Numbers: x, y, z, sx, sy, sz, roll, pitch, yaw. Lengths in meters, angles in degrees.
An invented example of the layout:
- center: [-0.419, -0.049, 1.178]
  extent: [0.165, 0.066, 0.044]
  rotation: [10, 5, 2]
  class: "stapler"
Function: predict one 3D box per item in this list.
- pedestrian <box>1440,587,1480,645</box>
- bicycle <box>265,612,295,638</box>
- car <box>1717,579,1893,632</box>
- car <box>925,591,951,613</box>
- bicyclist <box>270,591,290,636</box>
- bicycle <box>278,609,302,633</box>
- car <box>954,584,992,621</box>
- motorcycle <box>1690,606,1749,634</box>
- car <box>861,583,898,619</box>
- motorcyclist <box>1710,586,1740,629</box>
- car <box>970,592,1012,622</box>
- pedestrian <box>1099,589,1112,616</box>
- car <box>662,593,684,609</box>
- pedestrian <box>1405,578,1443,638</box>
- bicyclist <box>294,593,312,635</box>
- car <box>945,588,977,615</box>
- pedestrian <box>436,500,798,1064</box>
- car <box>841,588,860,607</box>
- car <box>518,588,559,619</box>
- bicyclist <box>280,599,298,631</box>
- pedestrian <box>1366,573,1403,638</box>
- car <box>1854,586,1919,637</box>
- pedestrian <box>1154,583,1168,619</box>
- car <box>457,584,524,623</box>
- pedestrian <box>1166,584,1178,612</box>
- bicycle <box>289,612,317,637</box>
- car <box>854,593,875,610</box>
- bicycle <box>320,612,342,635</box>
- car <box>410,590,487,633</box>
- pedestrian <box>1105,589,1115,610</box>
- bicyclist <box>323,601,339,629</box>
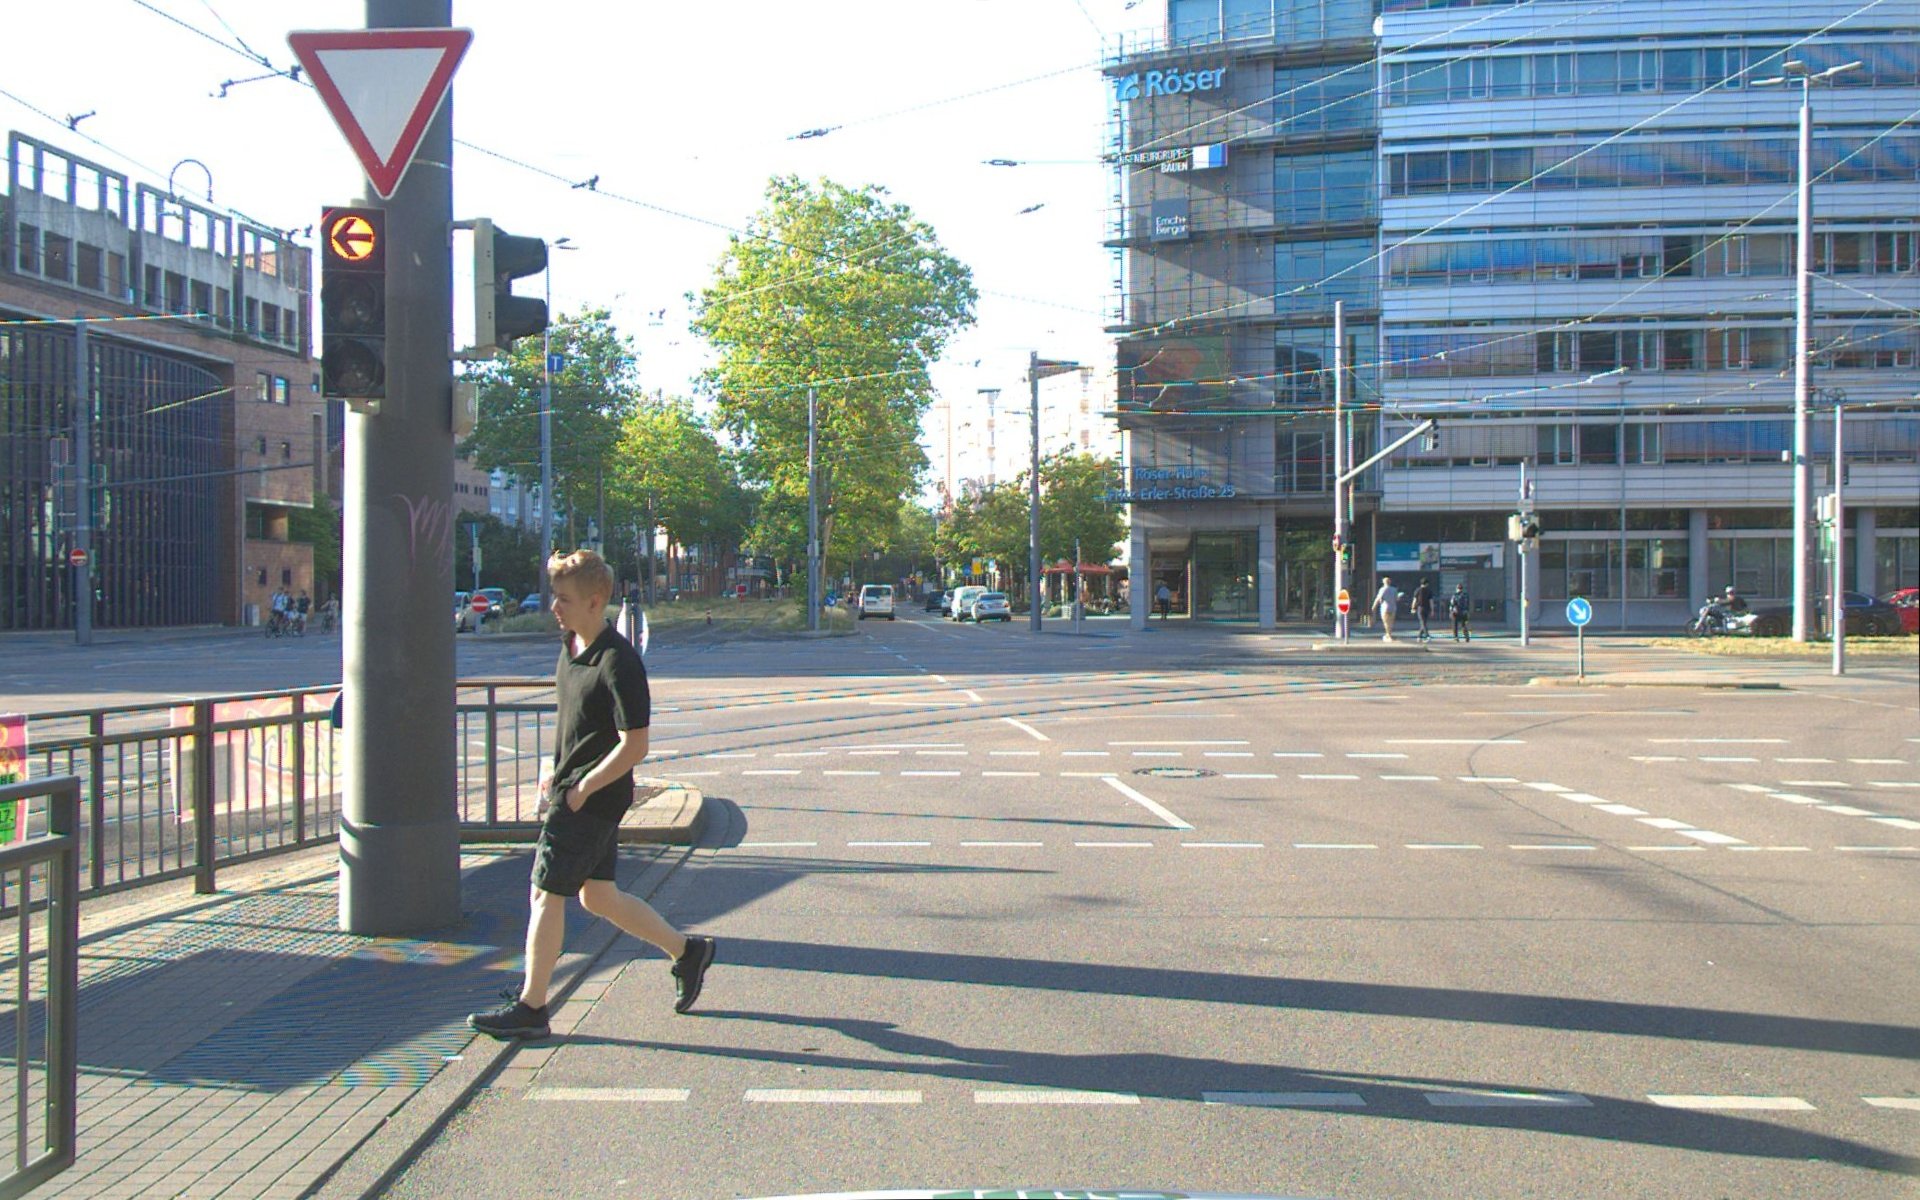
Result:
- center: [14.096, 0.443, 46.648]
  extent: [0.928, 1.591, 0.897]
  rotation: [-1, 0, 6]
  class: "pedestrian"
- center: [-26.829, 0.980, 65.240]
  extent: [0.531, 0.980, 1.586]
  rotation: [-1, 0, -1]
  class: "bicycle"
- center: [24.006, 0.154, 47.073]
  extent: [4.070, 1.423, 1.786]
  rotation: [-1, 0, 4]
  class: "car"
- center: [-1.679, 0.133, 126.627]
  extent: [1.953, 1.646, 3.999]
  rotation: [-1, 0, -1]
  class: "car"
- center: [-26.824, 0.527, 65.240]
  extent: [0.525, 1.761, 0.581]
  rotation: [-1, 0, -1]
  class: "bicyclist"
- center: [-27.662, 0.870, 68.249]
  extent: [0.458, 0.980, 1.320]
  rotation: [-1, 0, -1]
  class: "bicycle"
- center: [0.688, 0.117, 89.567]
  extent: [1.953, 1.892, 3.999]
  rotation: [-1, 0, -1]
  class: "car"
- center: [22.869, 0.610, 49.827]
  extent: [1.535, 0.824, 0.467]
  rotation: [-1, 0, 3]
  class: "motorcycle"
- center: [-4.337, 0.034, 89.341]
  extent: [1.922, 1.881, 5.327]
  rotation: [-1, 0, -3]
  class: "car"
- center: [23.052, 0.223, 49.827]
  extent: [0.697, 1.298, 0.460]
  rotation: [-1, 0, 3]
  class: "motorcyclist"
- center: [1.537, 0.338, 82.781]
  extent: [1.953, 1.400, 3.999]
  rotation: [-1, 0, -1]
  class: "car"
- center: [9.249, 0.159, 105.116]
  extent: [0.729, 1.744, 0.612]
  rotation: [-1, 0, -1]
  class: "pedestrian"
- center: [-33.312, 0.086, 191.976]
  extent: [1.953, 1.847, 3.999]
  rotation: [-1, 0, -1]
  class: "car"
- center: [13.389, 0.232, 47.752]
  extent: [0.893, 1.714, 1.036]
  rotation: [-1, 0, 6]
  class: "pedestrian"
- center: [-25.946, 0.557, 65.347]
  extent: [0.449, 1.631, 0.581]
  rotation: [-1, 0, -1]
  class: "bicyclist"
- center: [0.037, 0.072, 105.203]
  extent: [1.953, 1.646, 3.999]
  rotation: [-1, 0, -1]
  class: "car"
- center: [-1.210, 0.573, 5.808]
  extent: [1.077, 1.779, 0.735]
  rotation: [0, 0, -29]
  class: "pedestrian"
- center: [-12.484, -0.303, 188.649]
  extent: [1.953, 2.049, 3.999]
  rotation: [-1, 0, -1]
  class: "car"
- center: [-28.795, 0.211, 113.021]
  extent: [1.954, 2.049, 3.997]
  rotation: [-1, 0, -3]
  class: "car"
- center: [-27.672, 0.624, 68.225]
  extent: [0.495, 1.327, 0.581]
  rotation: [-1, 0, -1]
  class: "bicyclist"
- center: [12.026, 0.150, 46.860]
  extent: [0.845, 1.820, 0.872]
  rotation: [-1, 0, 2]
  class: "pedestrian"
- center: [29.266, 0.292, 49.594]
  extent: [3.903, 1.418, 1.786]
  rotation: [-2, 0, 4]
  class: "car"
- center: [8.690, 0.033, 71.552]
  extent: [0.599, 1.534, 0.579]
  rotation: [-1, 0, 6]
  class: "pedestrian"
- center: [-21.121, 0.144, 74.587]
  extent: [1.953, 1.668, 3.999]
  rotation: [-1, 0, -2]
  class: "car"
- center: [11.615, -0.120, 90.680]
  extent: [0.599, 1.534, 0.579]
  rotation: [-1, 0, 7]
  class: "pedestrian"
- center: [-25.939, 0.958, 65.332]
  extent: [0.463, 0.980, 1.575]
  rotation: [-1, 0, -1]
  class: "bicycle"
- center: [-8.488, 0.174, 146.737]
  extent: [1.762, 1.467, 3.998]
  rotation: [1, 0, -3]
  class: "car"
- center: [-27.014, 1.010, 71.006]
  extent: [0.442, 0.980, 1.347]
  rotation: [-1, 0, -1]
  class: "bicycle"
- center: [-20.667, 0.444, 67.029]
  extent: [1.953, 1.668, 3.999]
  rotation: [-1, 0, -2]
  class: "car"
- center: [9.663, -0.030, 106.719]
  extent: [0.565, 1.311, 0.910]
  rotation: [-1, 0, -1]
  class: "pedestrian"
- center: [-27.013, 0.649, 71.036]
  extent: [0.495, 1.199, 0.581]
  rotation: [-1, 0, -1]
  class: "bicyclist"
